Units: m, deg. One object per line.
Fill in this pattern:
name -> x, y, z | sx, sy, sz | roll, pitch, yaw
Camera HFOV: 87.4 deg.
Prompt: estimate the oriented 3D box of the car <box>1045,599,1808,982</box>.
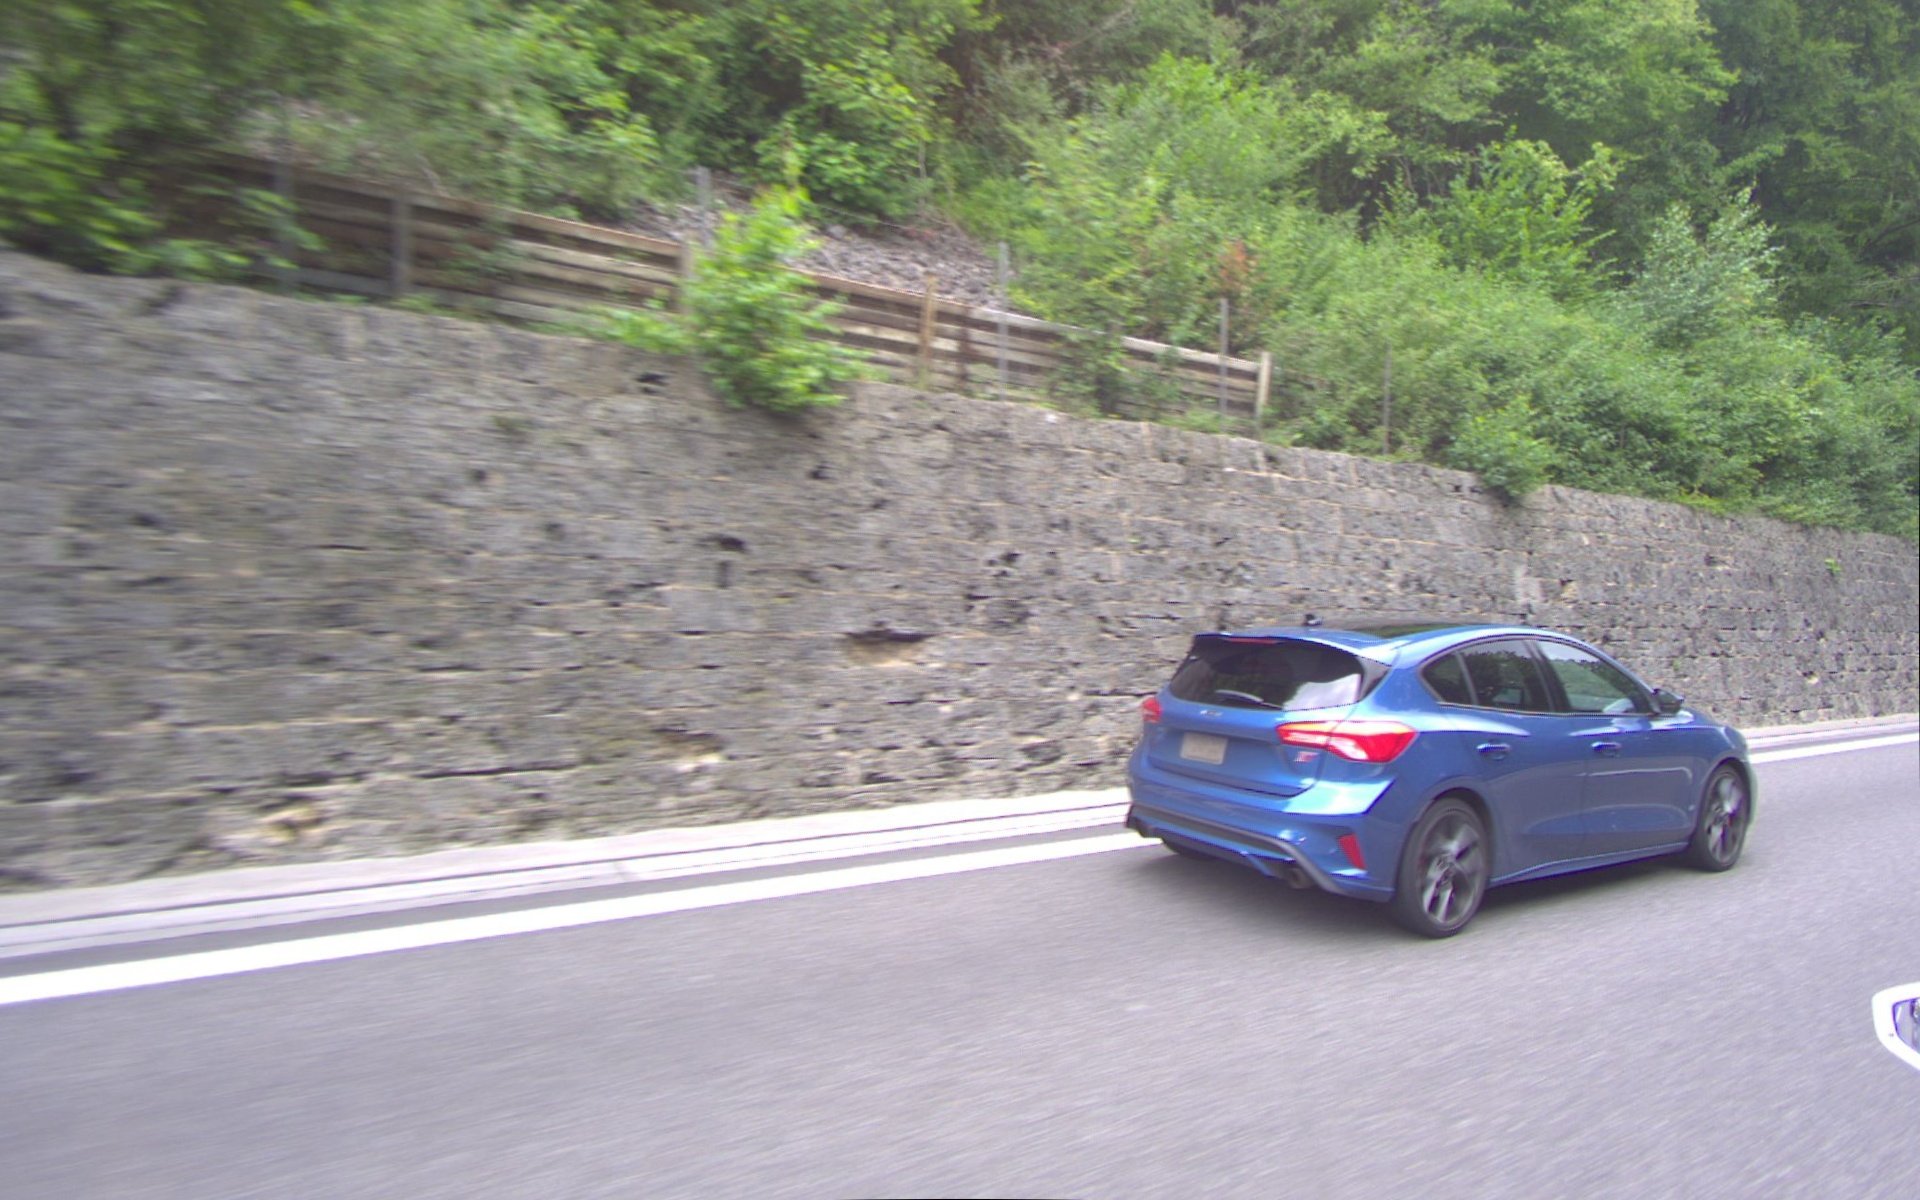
car -> 2.873, 0.818, 5.903 | 4.502, 1.488, 1.827 | 2, 0, -31
